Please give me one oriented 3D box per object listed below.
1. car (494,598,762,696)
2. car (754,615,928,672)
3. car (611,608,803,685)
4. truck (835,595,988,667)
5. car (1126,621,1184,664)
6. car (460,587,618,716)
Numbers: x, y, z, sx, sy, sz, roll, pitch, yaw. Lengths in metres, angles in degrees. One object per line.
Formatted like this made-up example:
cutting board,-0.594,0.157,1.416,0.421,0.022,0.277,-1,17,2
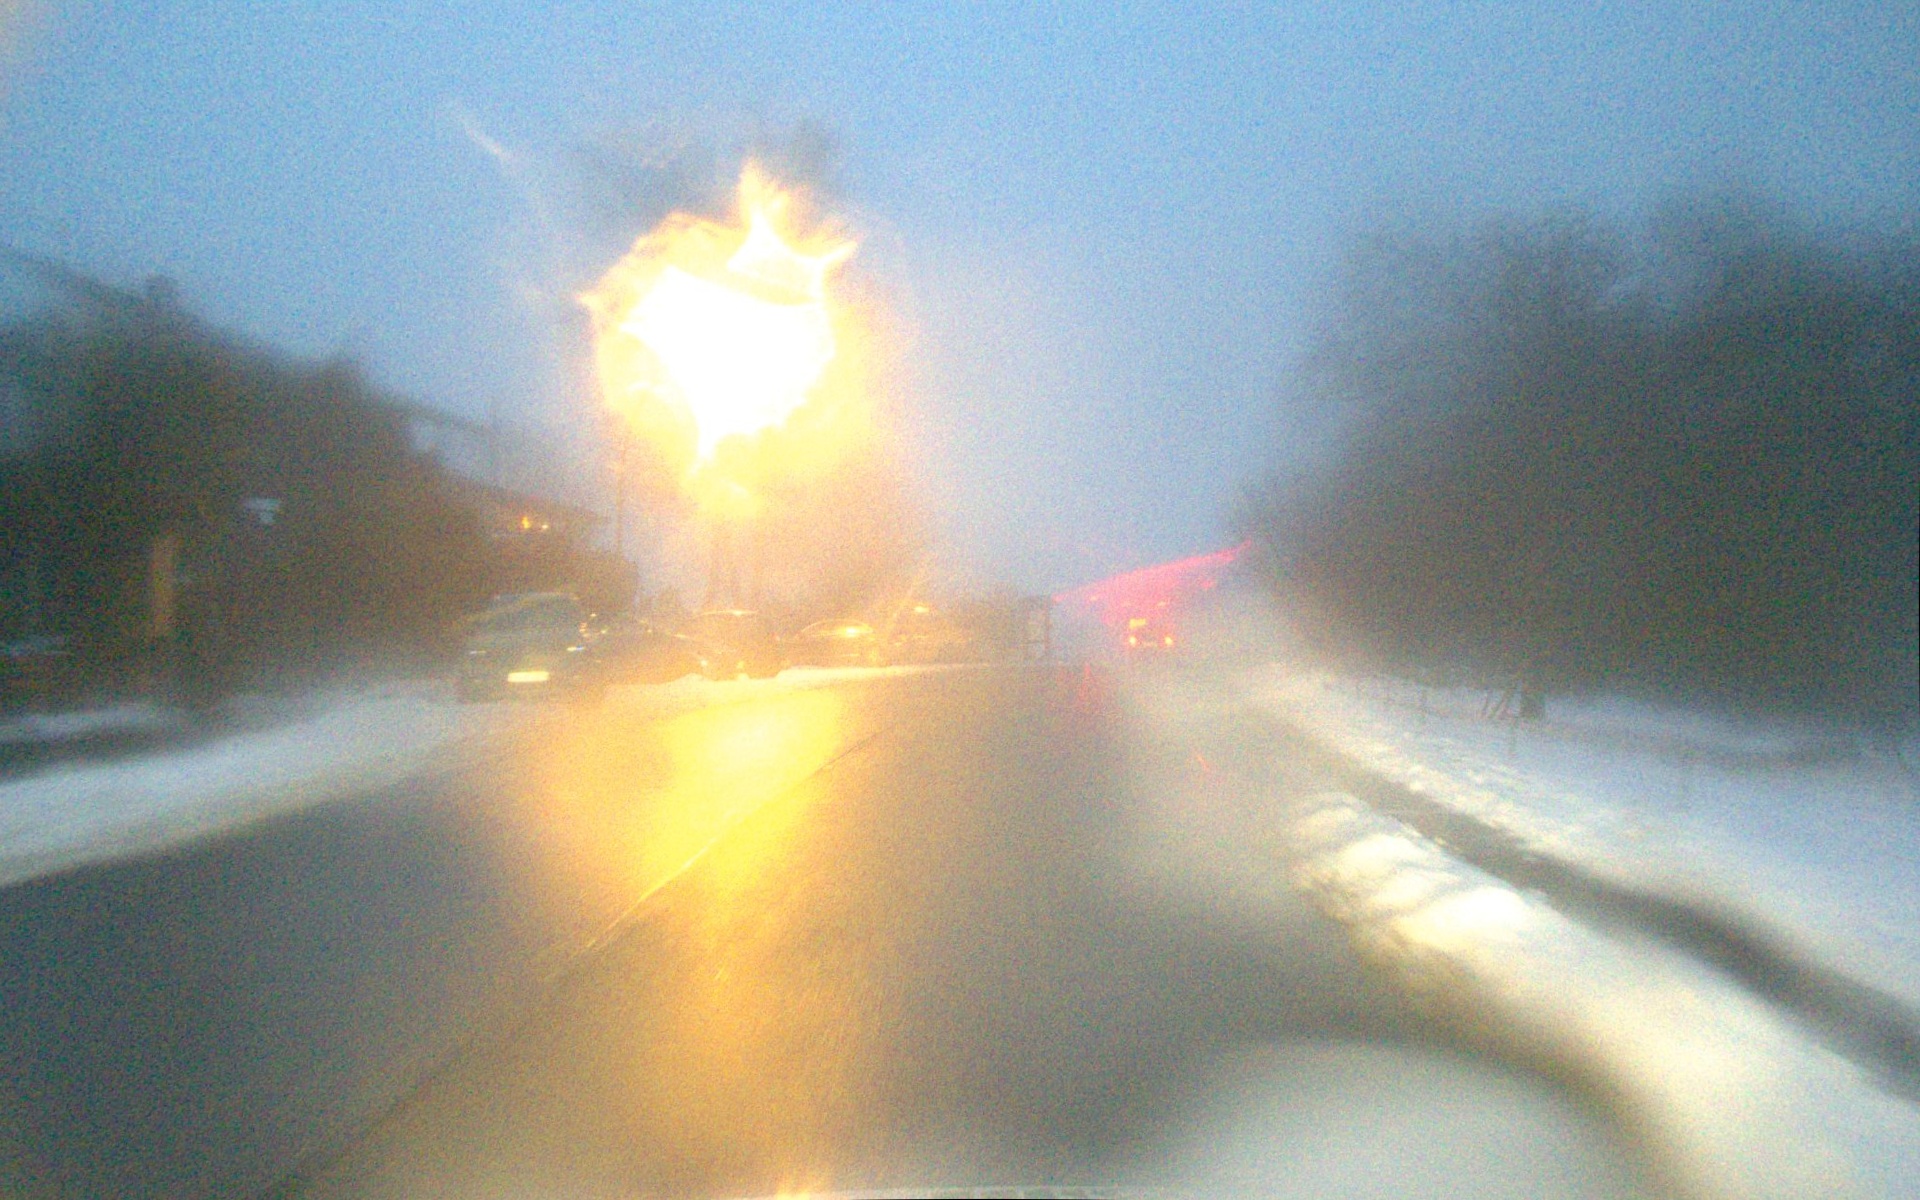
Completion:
car,-5.929,0.842,29.977,4.437,1.594,2.109,-2,-1,-3
car,-3.481,1.288,49.000,4.784,1.511,2.124,-2,-1,5
car,-5.427,0.996,35.783,3.774,1.497,1.939,-2,-1,2
truck,-1.690,1.103,58.671,5.150,2.343,2.001,-2,-1,5
car,6.986,1.535,59.205,1.951,1.445,4.002,1,-2,7
car,-6.040,0.744,24.201,1.959,1.593,4.982,-2,-1,-12
